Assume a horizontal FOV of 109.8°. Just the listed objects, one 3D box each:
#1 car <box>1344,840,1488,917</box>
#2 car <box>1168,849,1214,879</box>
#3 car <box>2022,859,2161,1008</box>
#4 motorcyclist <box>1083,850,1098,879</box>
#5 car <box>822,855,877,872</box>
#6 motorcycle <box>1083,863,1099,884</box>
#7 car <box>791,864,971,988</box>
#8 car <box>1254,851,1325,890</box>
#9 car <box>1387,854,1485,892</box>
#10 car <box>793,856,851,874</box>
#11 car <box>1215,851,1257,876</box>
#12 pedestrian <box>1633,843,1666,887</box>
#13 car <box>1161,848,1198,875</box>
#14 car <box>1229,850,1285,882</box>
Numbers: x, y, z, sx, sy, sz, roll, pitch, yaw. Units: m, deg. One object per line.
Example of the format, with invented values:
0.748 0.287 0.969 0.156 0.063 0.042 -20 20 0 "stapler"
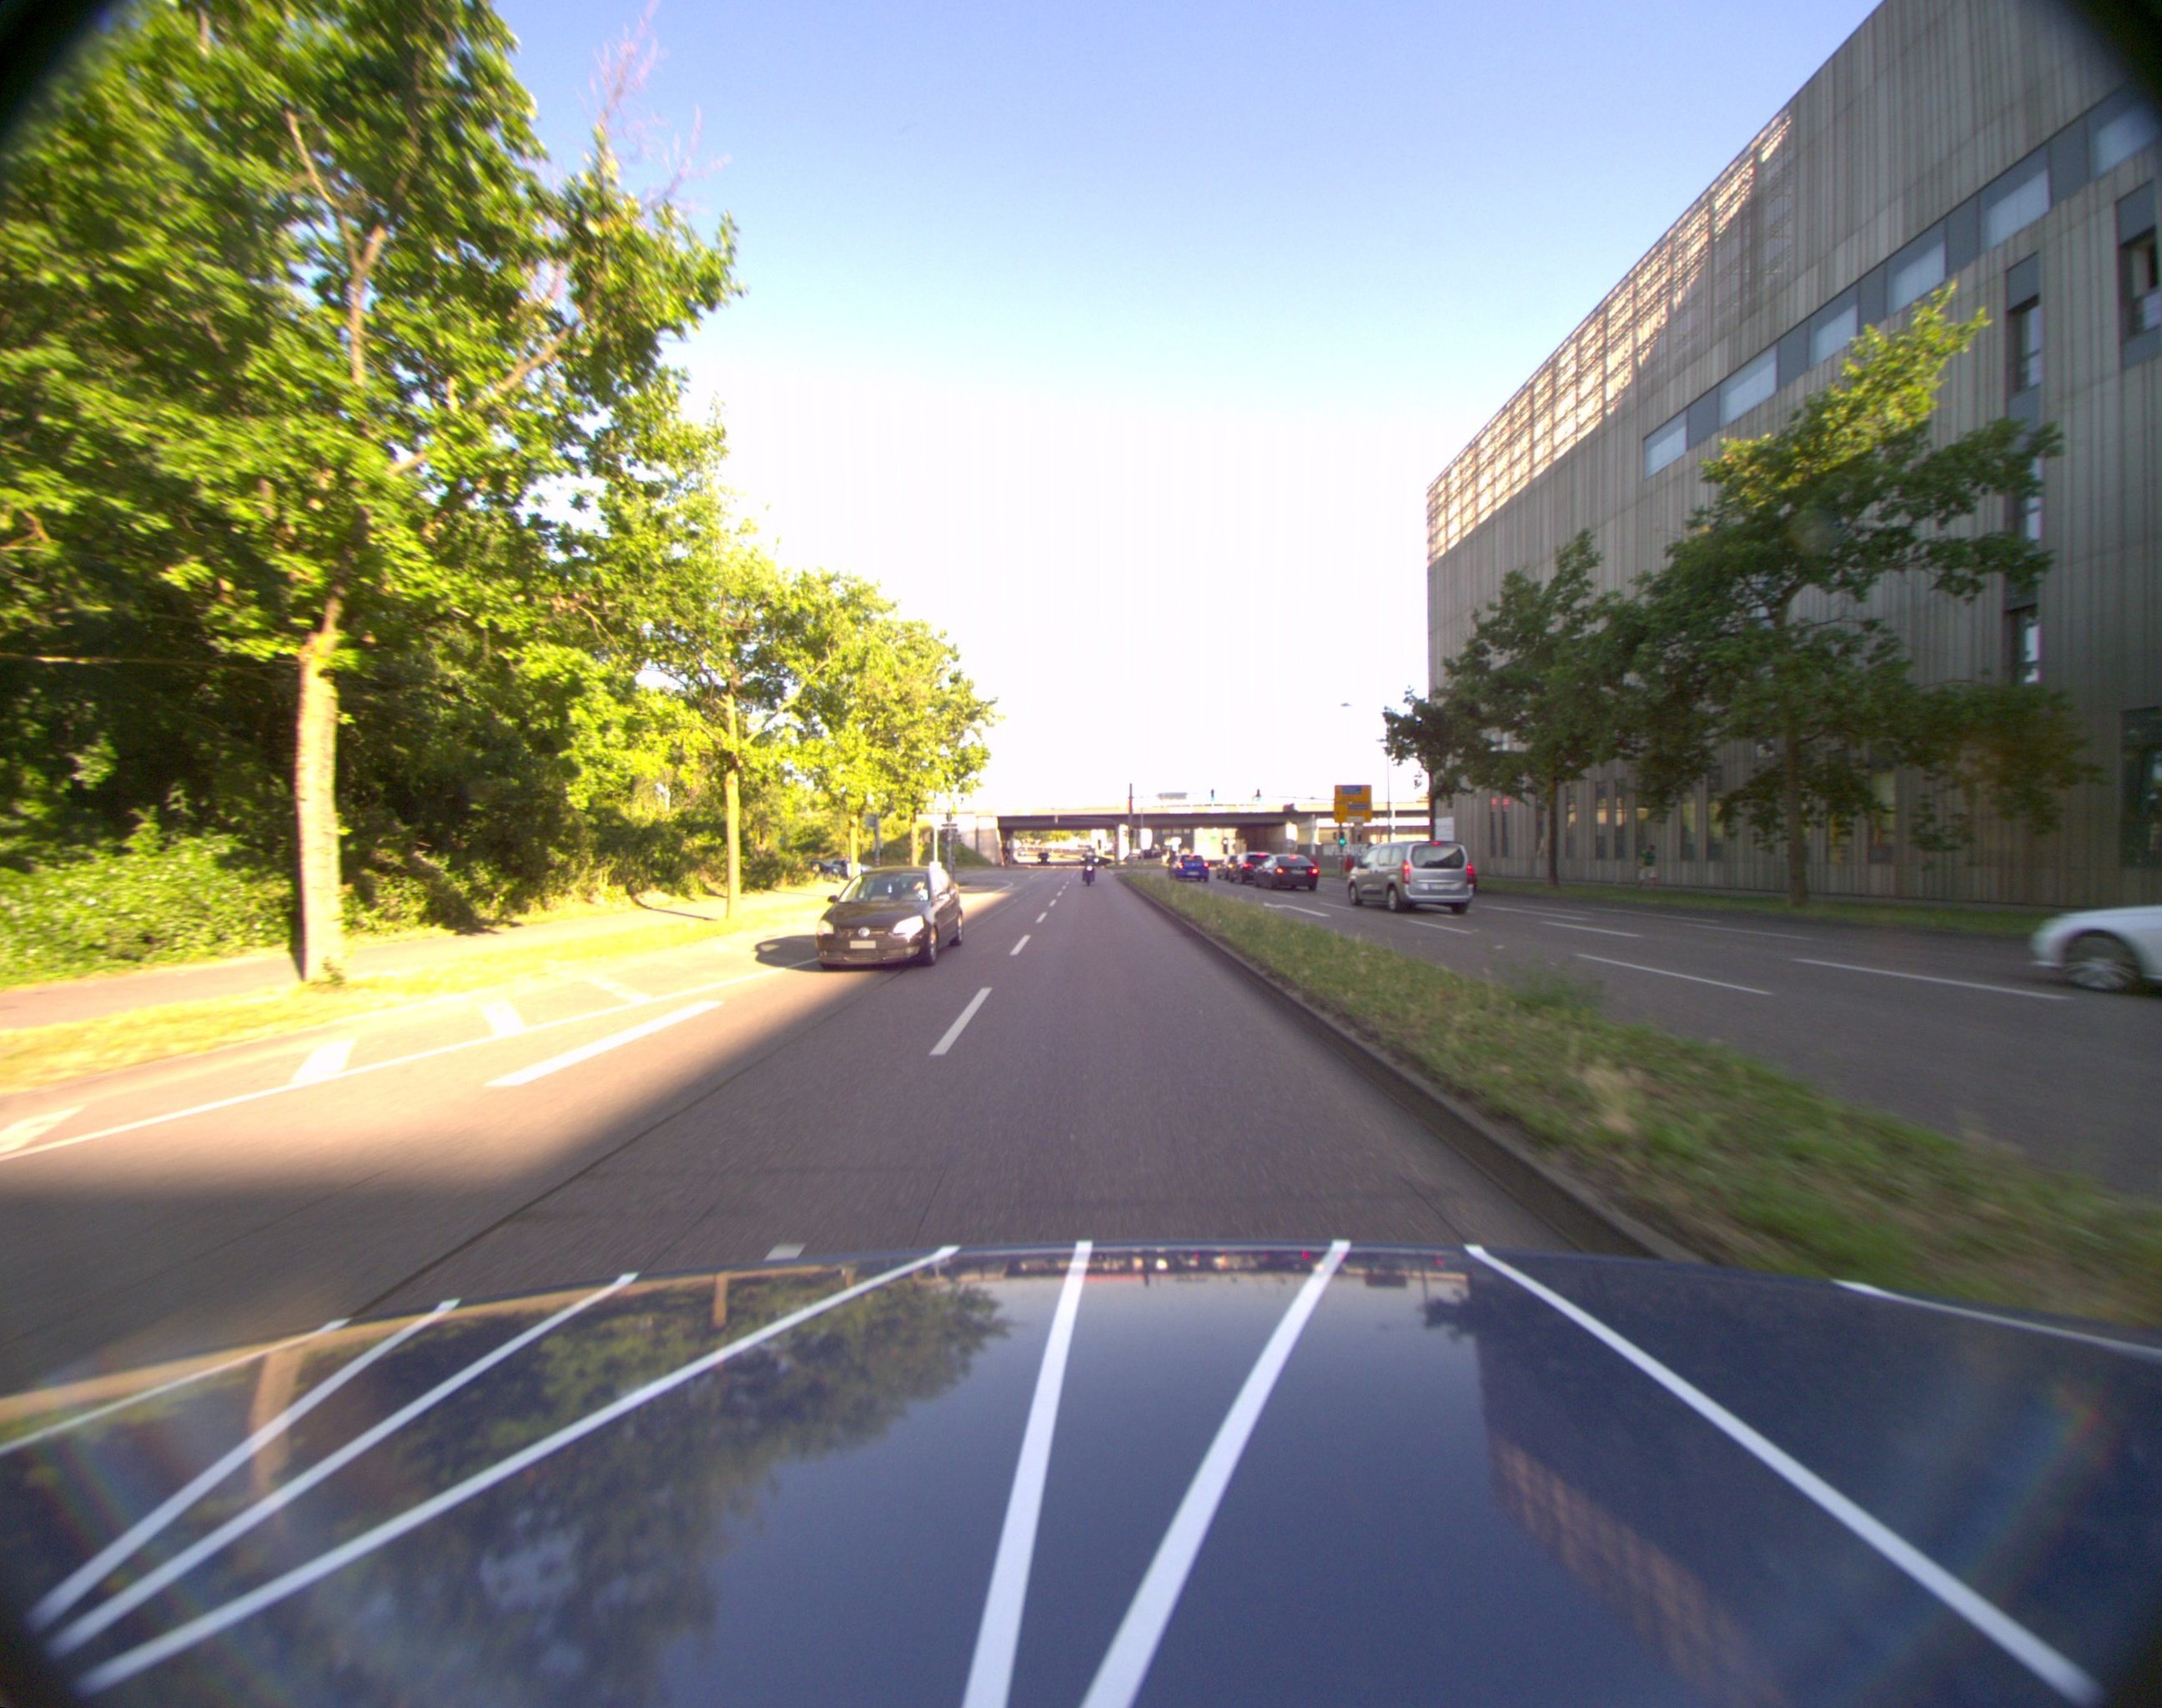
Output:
8.632 0.554 20.079 1.998 1.805 4.401 0 1 2 "car"
5.783 0.502 40.315 1.840 1.510 3.952 0 1 0 "car"
11.596 0.812 6.211 1.850 1.464 4.815 1 0 1 "car"
0.498 0.530 39.118 0.734 1.503 0.919 -1 1 -1 "motorcyclist"
-20.884 0.847 68.635 4.285 1.510 1.932 0 1 4 "car"
0.489 0.976 38.953 0.749 0.977 2.140 -1 1 0 "motorcycle"
-2.965 0.983 12.224 1.726 1.490 4.213 -2 1 0 "car"
8.635 0.642 31.882 1.930 1.510 4.290 0 0 2 "car"
14.402 0.719 31.127 1.998 1.448 4.400 0 0 0 "car"
-22.347 0.978 65.670 4.285 1.510 1.932 0 1 4 "car"
9.004 0.525 44.406 1.695 1.425 3.772 0 0 1 "car"
21.459 0.407 28.705 0.698 1.619 0.725 -1 1 1 "pedestrian"
6.131 0.425 47.746 1.930 1.595 4.000 0 1 2 "car"
8.681 0.570 37.837 1.930 1.510 4.000 0 0 1 "car"
